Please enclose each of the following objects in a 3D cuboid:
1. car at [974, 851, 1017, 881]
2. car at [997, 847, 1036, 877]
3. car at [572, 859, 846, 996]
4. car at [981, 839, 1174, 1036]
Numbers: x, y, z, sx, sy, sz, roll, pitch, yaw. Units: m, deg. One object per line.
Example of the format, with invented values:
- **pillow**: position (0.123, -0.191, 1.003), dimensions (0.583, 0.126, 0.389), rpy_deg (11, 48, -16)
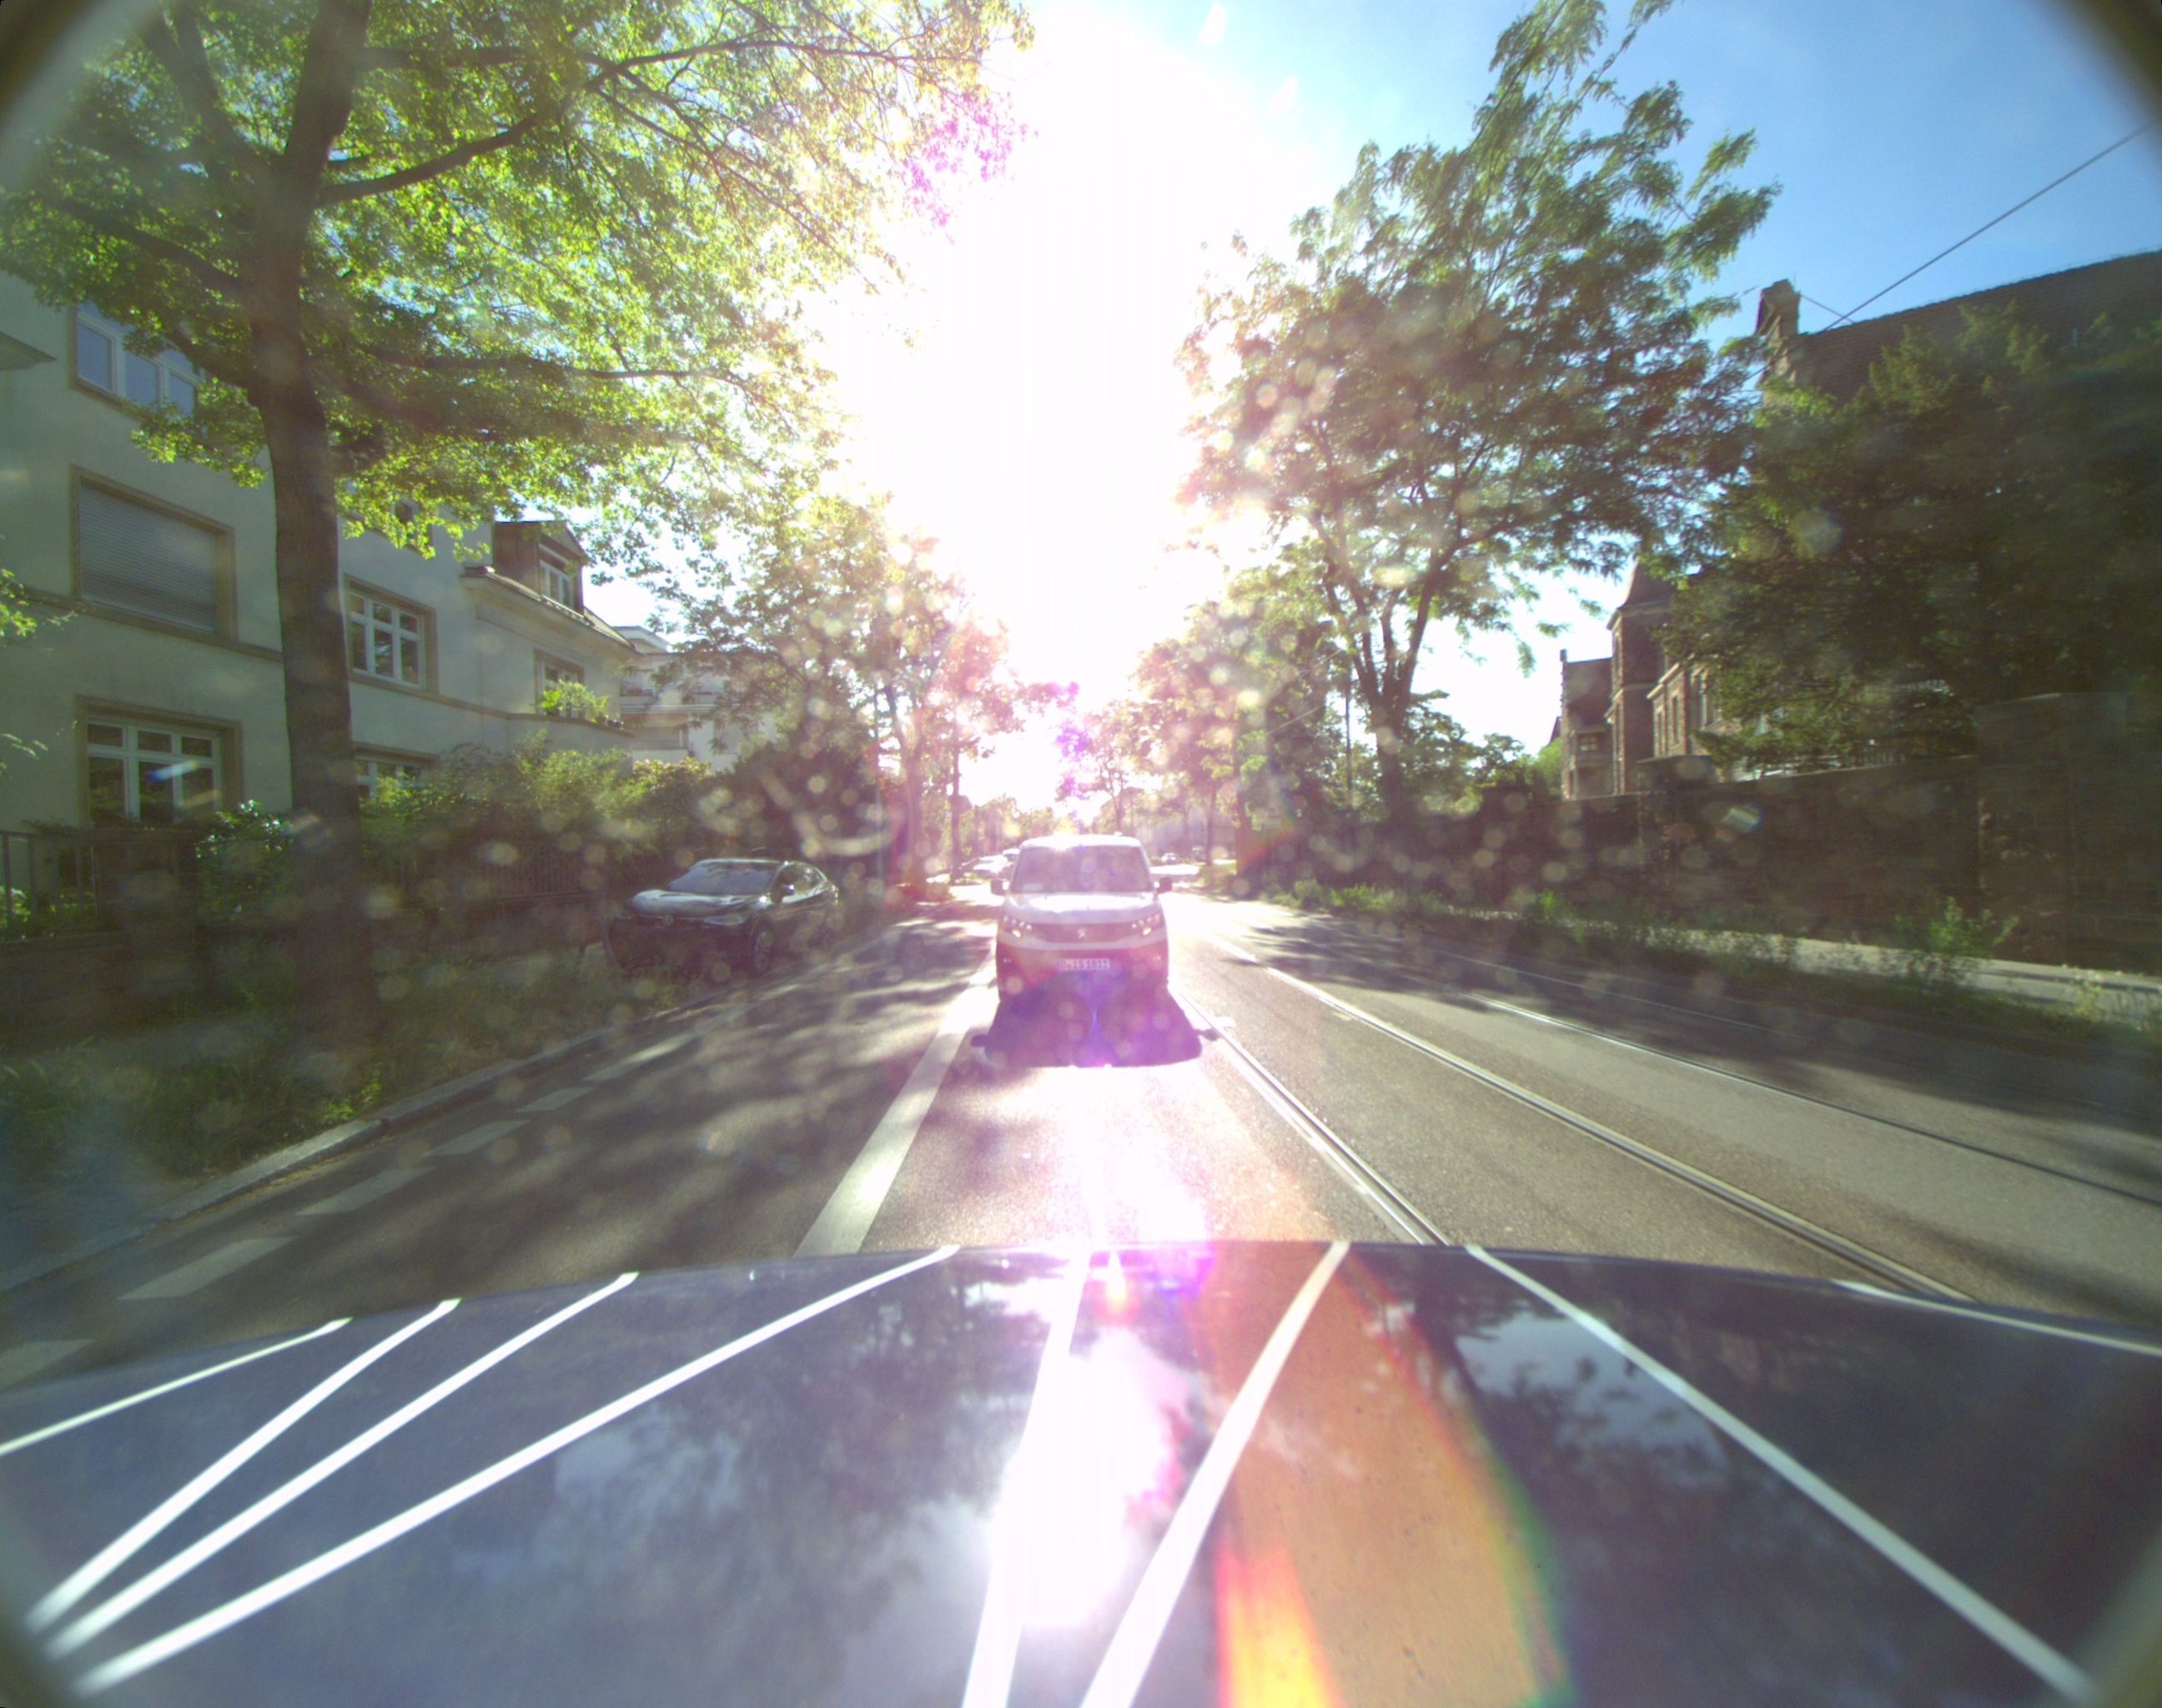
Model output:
- **car**: position (-5.032, 0.665, 45.339), dimensions (1.823, 1.630, 4.001), rpy_deg (-2, 0, 4)
- **car**: position (-4.356, 0.509, 51.772), dimensions (2.129, 1.884, 4.746), rpy_deg (-2, 0, 1)
- **car**: position (-5.250, 0.935, 11.538), dimensions (1.999, 1.665, 4.380), rpy_deg (1, -1, 0)
- **car**: position (-0.043, 0.772, 9.058), dimensions (1.768, 1.812, 3.999), rpy_deg (-1, 0, 0)
